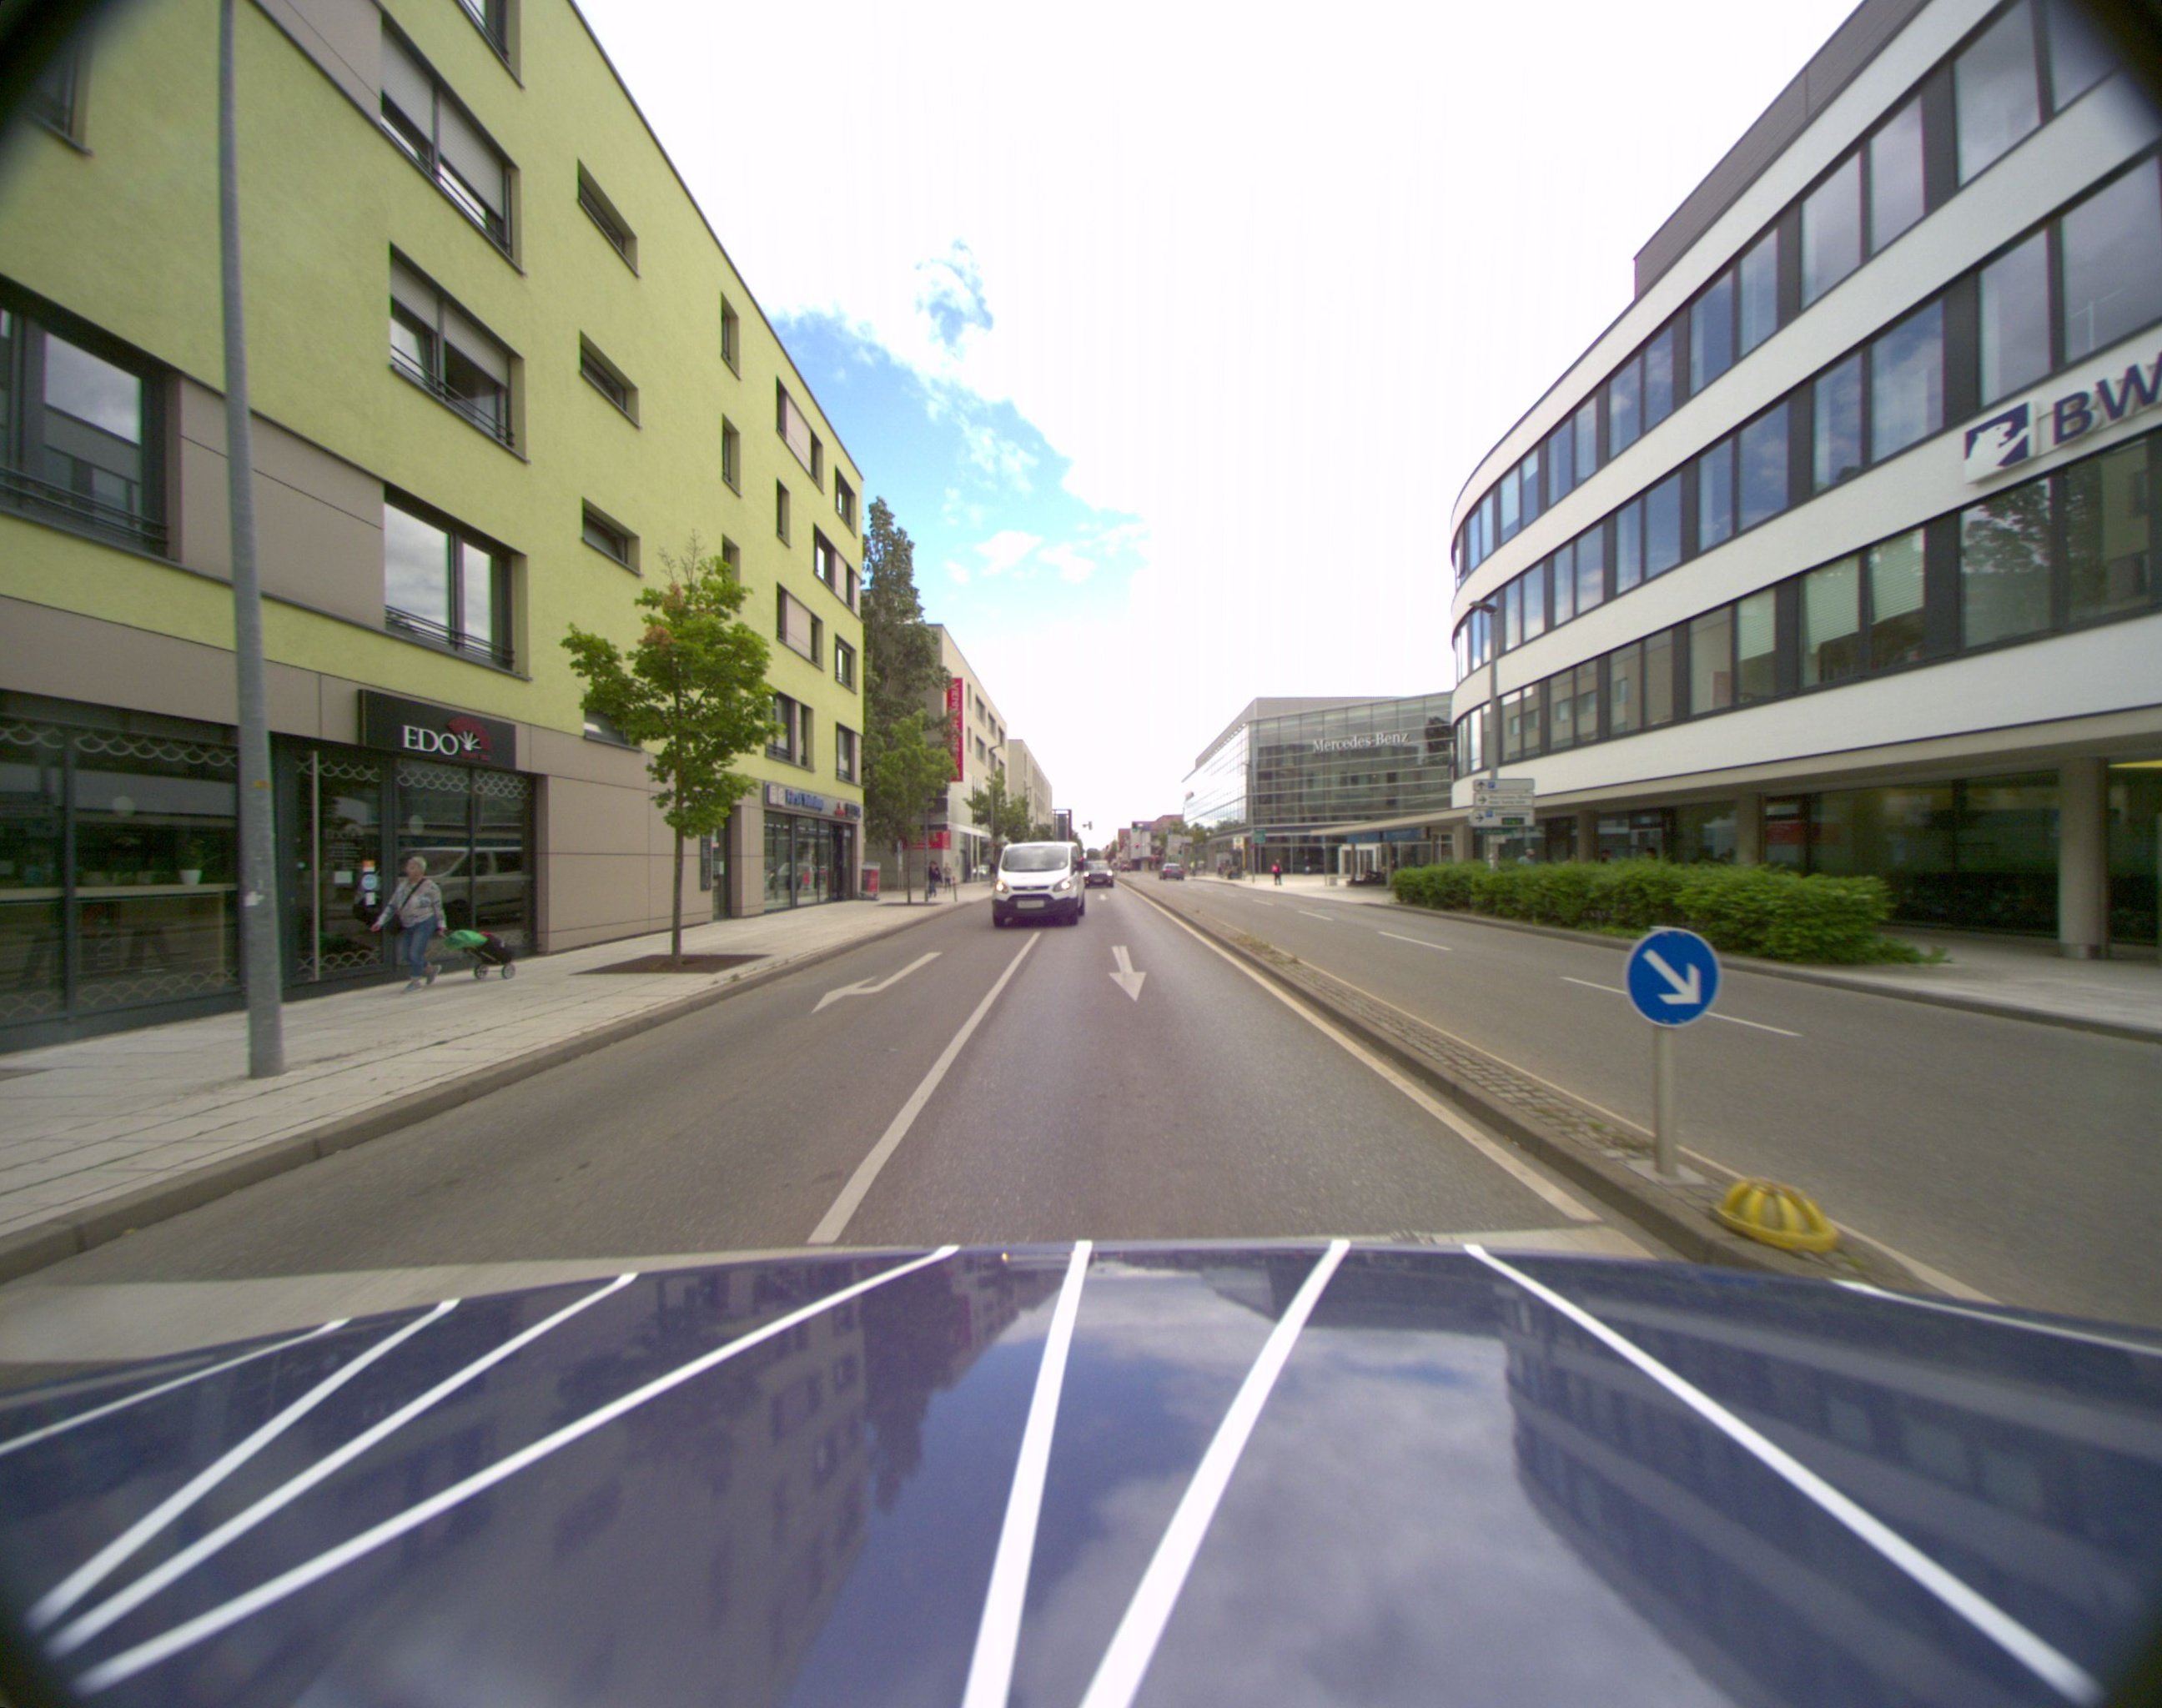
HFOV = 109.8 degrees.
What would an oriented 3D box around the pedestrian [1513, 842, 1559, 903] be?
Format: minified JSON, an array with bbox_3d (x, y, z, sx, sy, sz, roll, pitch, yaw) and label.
[{"bbox_3d":[12.934,0.510,21.612,0.732,1.664,0.931,-2,0,3],"label":"pedestrian"}]

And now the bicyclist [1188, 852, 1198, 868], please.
[{"bbox_3d":[12.626,0.712,85.840,0.749,1.789,0.772,-4,1,-45],"label":"bicyclist"}]

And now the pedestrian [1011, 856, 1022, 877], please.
[{"bbox_3d":[-5.062,0.984,59.700,0.742,1.599,0.715,-1,0,2],"label":"pedestrian"}]

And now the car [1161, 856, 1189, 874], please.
[{"bbox_3d":[8.240,0.949,66.921,1.901,1.407,4.471,-3,0,2],"label":"car"}]

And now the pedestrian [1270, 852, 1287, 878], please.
[{"bbox_3d":[12.332,0.676,47.428,0.832,1.558,0.813,-2,1,6],"label":"pedestrian"}]

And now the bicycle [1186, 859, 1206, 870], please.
[{"bbox_3d":[12.570,1.133,83.012,2.002,1.124,0.639,-3,0,16],"label":"bicycle"}]

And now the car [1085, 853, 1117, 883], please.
[{"bbox_3d":[1.191,0.751,43.612,1.691,1.550,4.745,-2,0,3],"label":"car"}]

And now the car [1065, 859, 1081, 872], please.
[{"bbox_3d":[-0.946,1.353,93.087,1.787,1.417,4.514,-2,0,0],"label":"car"}]

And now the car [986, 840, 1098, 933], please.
[{"bbox_3d":[-0.817,0.708,19.349,1.999,1.976,5.003,-3,0,6],"label":"car"}]

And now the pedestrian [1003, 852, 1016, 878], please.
[{"bbox_3d":[-4.830,0.737,51.121,0.722,1.674,0.733,0,1,6],"label":"pedestrian"}]

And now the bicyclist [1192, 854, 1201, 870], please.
[{"bbox_3d":[12.587,0.858,83.000,0.783,1.639,0.639,-3,0,16],"label":"bicyclist"}]

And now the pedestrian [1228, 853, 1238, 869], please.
[{"bbox_3d":[12.577,0.559,62.737,0.686,1.312,0.576,1,1,0],"label":"pedestrian"}]

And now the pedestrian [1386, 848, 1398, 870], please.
[{"bbox_3d":[28.636,0.460,70.003,0.686,1.934,0.749,-2,1,-12],"label":"pedestrian"}]

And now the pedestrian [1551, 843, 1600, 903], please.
[{"bbox_3d":[13.714,0.510,21.113,0.732,1.604,0.931,-2,0,3],"label":"pedestrian"}]

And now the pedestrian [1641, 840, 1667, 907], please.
[{"bbox_3d":[15.017,0.495,19.924,0.505,1.720,0.616,0,1,32],"label":"pedestrian"}]

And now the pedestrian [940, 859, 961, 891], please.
[{"bbox_3d":[-6.525,1.046,38.105,0.871,1.574,0.804,-1,1,0],"label":"pedestrian"}]

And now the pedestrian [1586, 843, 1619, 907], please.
[{"bbox_3d":[14.122,0.547,20.586,0.616,1.700,0.505,-1,1,-29],"label":"pedestrian"}]

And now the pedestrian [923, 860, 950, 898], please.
[{"bbox_3d":[-6.151,1.043,32.434,0.949,1.574,1.016,-1,1,0],"label":"pedestrian"}]

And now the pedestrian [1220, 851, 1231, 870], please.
[{"bbox_3d":[12.320,0.556,64.647,0.688,1.622,0.574,0,1,-40],"label":"pedestrian"}]

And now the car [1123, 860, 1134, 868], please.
[{"bbox_3d":[9.815,2.058,156.938,1.803,1.458,3.998,-1,0,-5],"label":"car"}]

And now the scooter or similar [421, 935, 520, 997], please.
[{"bbox_3d":[-7.762,1.417,9.690,0.593,0.669,0.824,0,0,0],"label":"scooter or similar"}]

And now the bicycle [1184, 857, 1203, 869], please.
[{"bbox_3d":[12.662,1.013,85.820,0.749,1.199,2.025,-4,0,-45],"label":"bicycle"}]

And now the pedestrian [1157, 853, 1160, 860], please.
[{"bbox_3d":[17.268,0.608,168.965,0.555,1.507,0.582,-1,0,-31],"label":"pedestrian"}]

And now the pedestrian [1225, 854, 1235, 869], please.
[{"bbox_3d":[12.543,0.653,64.008,0.686,1.246,0.576,0,1,0],"label":"pedestrian"}]

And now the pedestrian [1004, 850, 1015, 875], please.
[{"bbox_3d":[-4.982,0.588,52.679,0.580,1.759,0.857,0,1,6],"label":"pedestrian"}]

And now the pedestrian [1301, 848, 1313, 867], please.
[{"bbox_3d":[22.564,0.357,75.888,0.904,1.934,0.748,-3,1,-37],"label":"pedestrian"}]

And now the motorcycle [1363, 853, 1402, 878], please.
[{"bbox_3d":[16.787,0.629,42.326,1.858,1.325,0.636,-3,1,5],"label":"motorcycle"}]

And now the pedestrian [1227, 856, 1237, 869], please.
[{"bbox_3d":[12.591,0.733,63.409,0.686,1.069,0.576,1,0,0],"label":"pedestrian"}]

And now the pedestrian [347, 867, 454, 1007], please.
[{"bbox_3d":[-8.013,0.952,8.970,0.697,1.584,0.603,0,1,0],"label":"pedestrian"}]
